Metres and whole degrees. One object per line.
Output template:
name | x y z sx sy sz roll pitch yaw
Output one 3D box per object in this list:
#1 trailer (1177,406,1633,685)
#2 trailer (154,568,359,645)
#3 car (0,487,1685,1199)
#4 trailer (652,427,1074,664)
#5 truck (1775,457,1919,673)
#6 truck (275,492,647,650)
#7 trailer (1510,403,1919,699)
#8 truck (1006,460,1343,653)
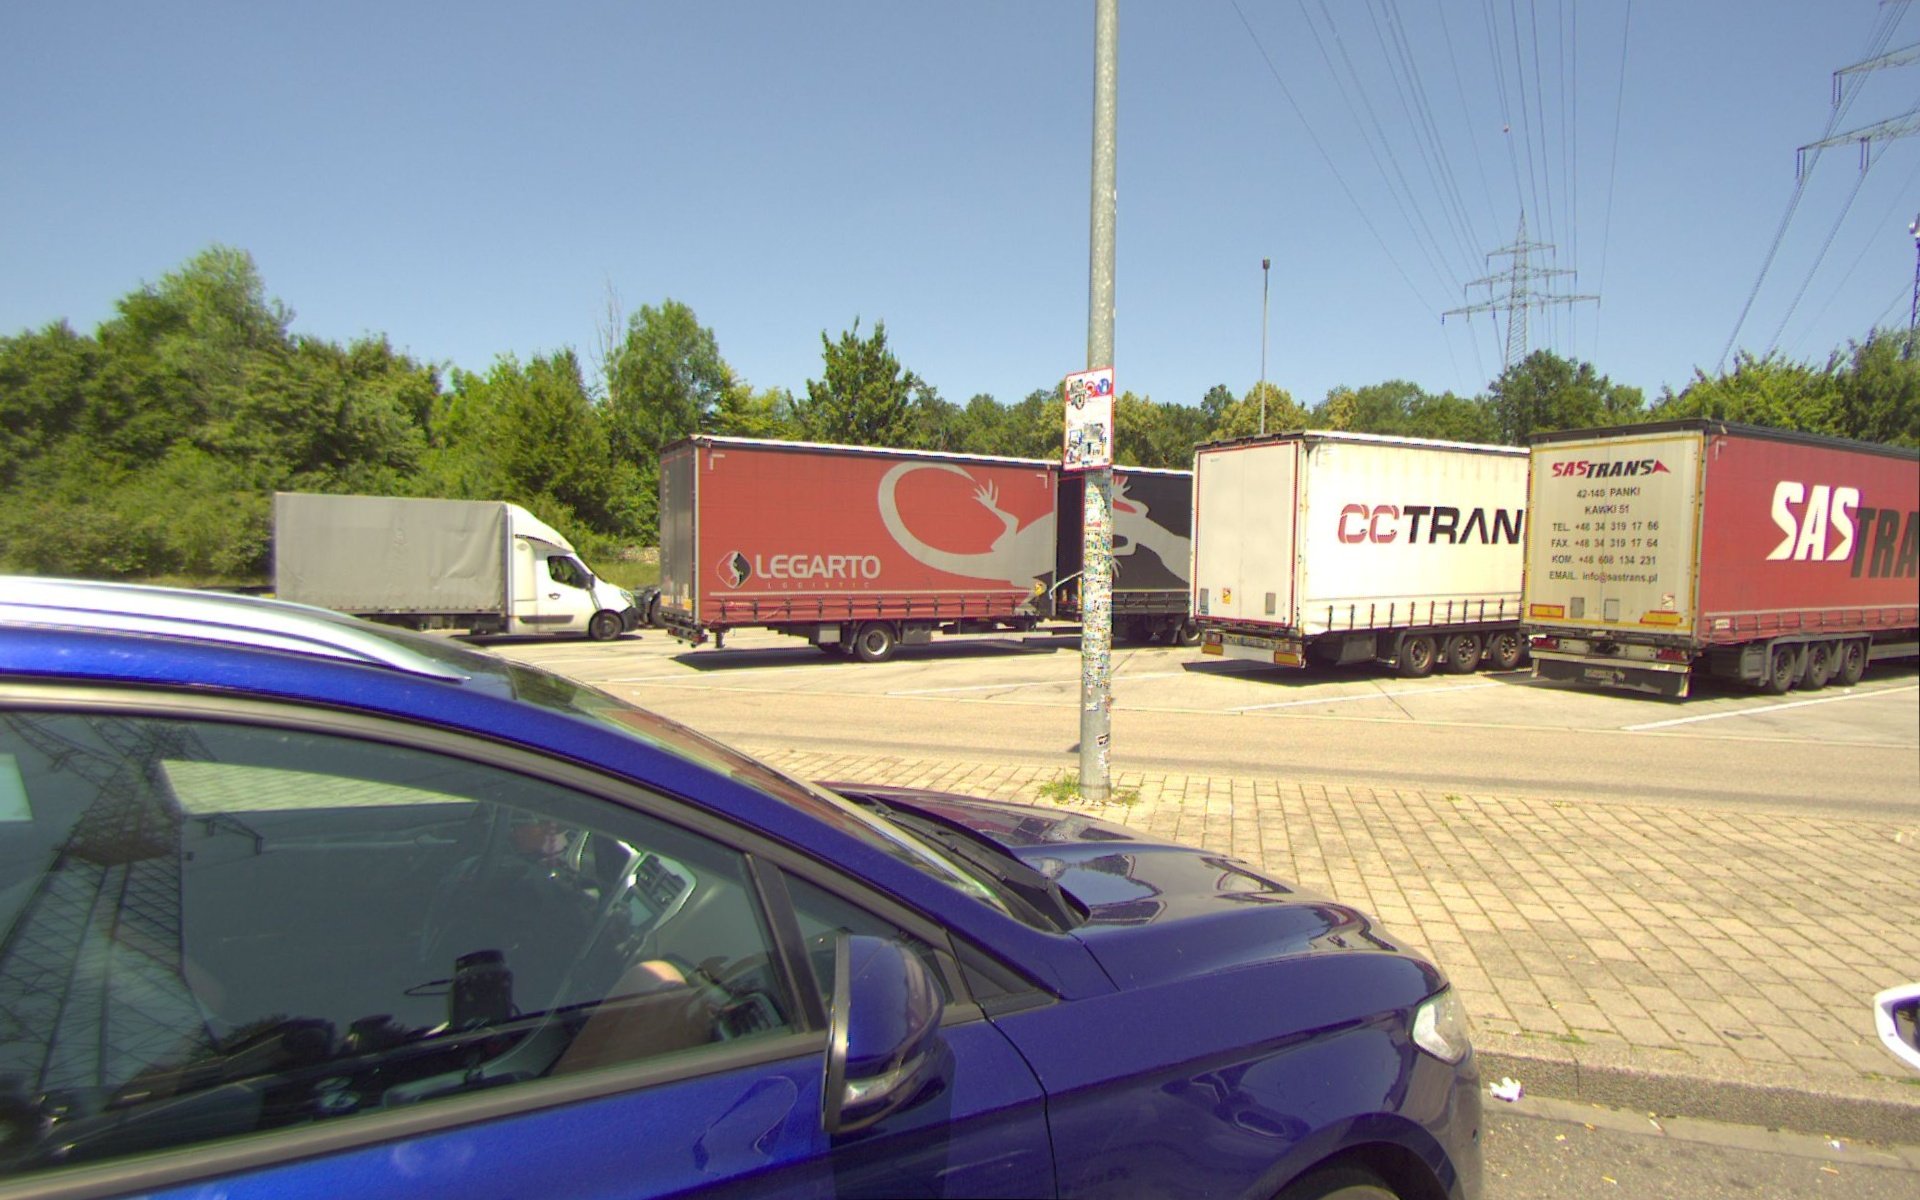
trailer | 8.726 -0.830 19.113 9.614 4.321 2.733 0 1 -29
trailer | -16.491 0.150 23.781 3.856 1.684 1.464 0 1 -30
car | -0.993 0.654 1.470 4.419 1.485 1.765 0 1 -32
trailer | -1.776 -0.917 20.315 8.158 4.027 2.651 0 1 -31
truck | 20.833 -0.676 21.779 6.749 4.136 2.729 0 1 -31
truck | -11.109 -0.603 22.929 7.265 3.170 2.352 0 1 -30
trailer | 15.300 -0.672 18.505 13.129 4.112 2.736 0 1 -31
truck | 5.415 -0.910 24.588 8.534 4.073 2.624 0 1 -30
